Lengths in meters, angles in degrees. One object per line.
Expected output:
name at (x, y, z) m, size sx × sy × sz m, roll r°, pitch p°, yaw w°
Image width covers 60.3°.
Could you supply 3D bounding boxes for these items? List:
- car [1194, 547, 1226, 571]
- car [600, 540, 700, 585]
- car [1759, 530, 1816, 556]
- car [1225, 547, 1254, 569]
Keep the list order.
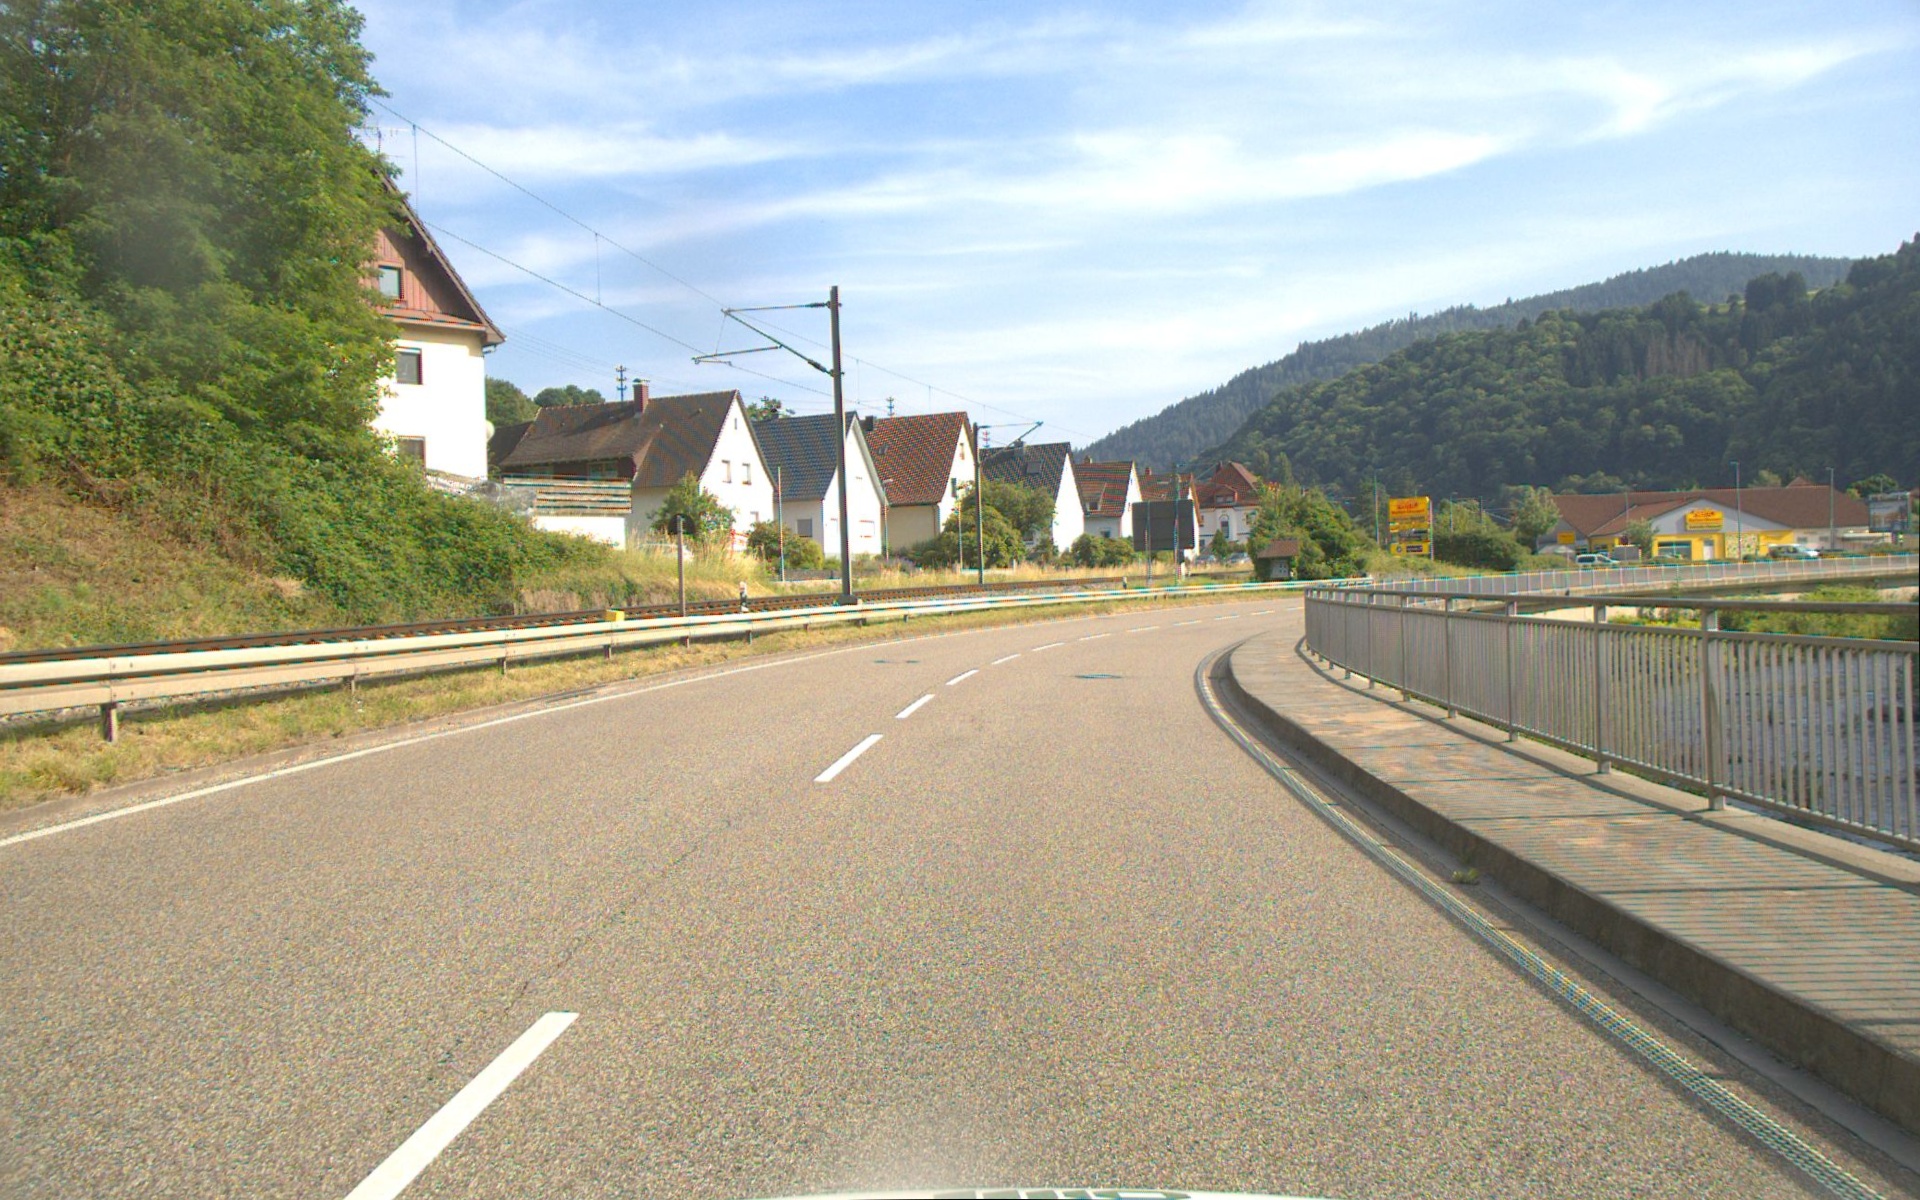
car at (22.028, -3.627, 145.601) m, size 1.953 × 1.913 × 4.001 m, roll 6°, pitch 2°, yaw 19°
car at (-12.931, -1.586, 68.974) m, size 3.951 × 1.703 × 1.642 m, roll -1°, pitch 4°, yaw -18°
car at (72.128, -4.925, 144.248) m, size 1.976 × 2.049 × 3.953 m, roll 3°, pitch -1°, yaw -34°
car at (26.789, -3.992, 158.454) m, size 1.953 × 1.913 × 4.001 m, roll 6°, pitch 2°, yaw 19°
